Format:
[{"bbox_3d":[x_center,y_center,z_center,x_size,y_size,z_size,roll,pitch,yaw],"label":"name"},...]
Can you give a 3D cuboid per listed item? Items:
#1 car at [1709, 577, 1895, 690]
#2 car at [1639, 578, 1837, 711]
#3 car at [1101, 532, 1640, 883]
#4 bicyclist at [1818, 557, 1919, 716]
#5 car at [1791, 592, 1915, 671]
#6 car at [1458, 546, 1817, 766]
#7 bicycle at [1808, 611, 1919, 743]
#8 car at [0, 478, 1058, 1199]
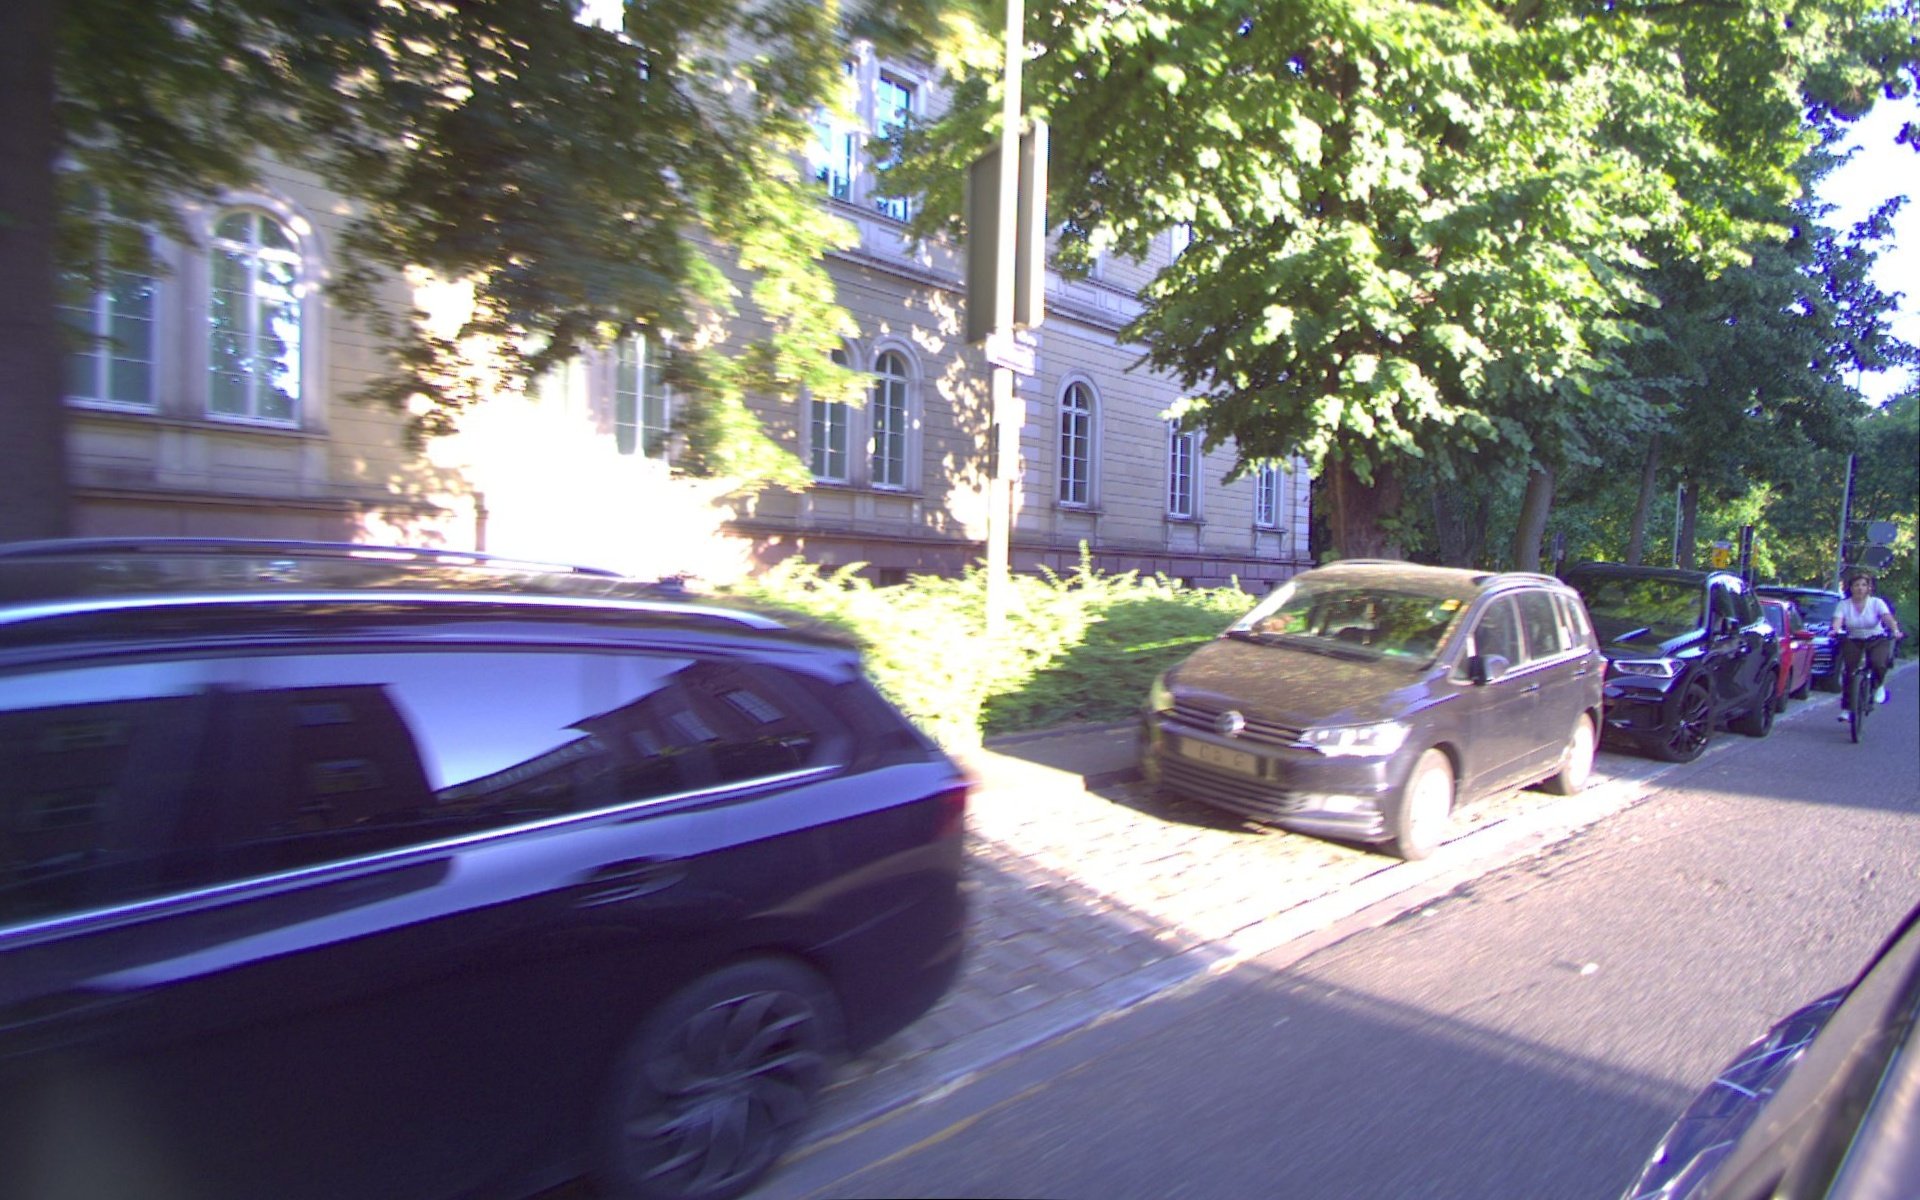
[{"bbox_3d":[15.059,0.483,18.009,4.615,1.708,1.885,-1,3,-42],"label":"car"},{"bbox_3d":[11.315,0.517,14.622,3.905,1.608,1.725,-1,3,-45],"label":"car"},{"bbox_3d":[3.076,0.457,7.030,4.423,1.703,1.726,-1,3,-43],"label":"car"},{"bbox_3d":[9.950,0.370,11.052,1.021,1.632,0.752,1,1,-44],"label":"bicyclist"},{"bbox_3d":[19.574,0.612,22.133,3.935,1.456,1.725,-1,3,-45],"label":"car"},{"bbox_3d":[7.324,0.407,10.722,4.859,1.835,1.809,-1,3,-40],"label":"car"},{"bbox_3d":[9.907,0.774,11.061,2.174,1.268,0.752,1,2,-45],"label":"bicycle"},{"bbox_3d":[-2.007,0.551,2.080,4.545,1.551,1.728,-1,7,-43],"label":"car"}]
